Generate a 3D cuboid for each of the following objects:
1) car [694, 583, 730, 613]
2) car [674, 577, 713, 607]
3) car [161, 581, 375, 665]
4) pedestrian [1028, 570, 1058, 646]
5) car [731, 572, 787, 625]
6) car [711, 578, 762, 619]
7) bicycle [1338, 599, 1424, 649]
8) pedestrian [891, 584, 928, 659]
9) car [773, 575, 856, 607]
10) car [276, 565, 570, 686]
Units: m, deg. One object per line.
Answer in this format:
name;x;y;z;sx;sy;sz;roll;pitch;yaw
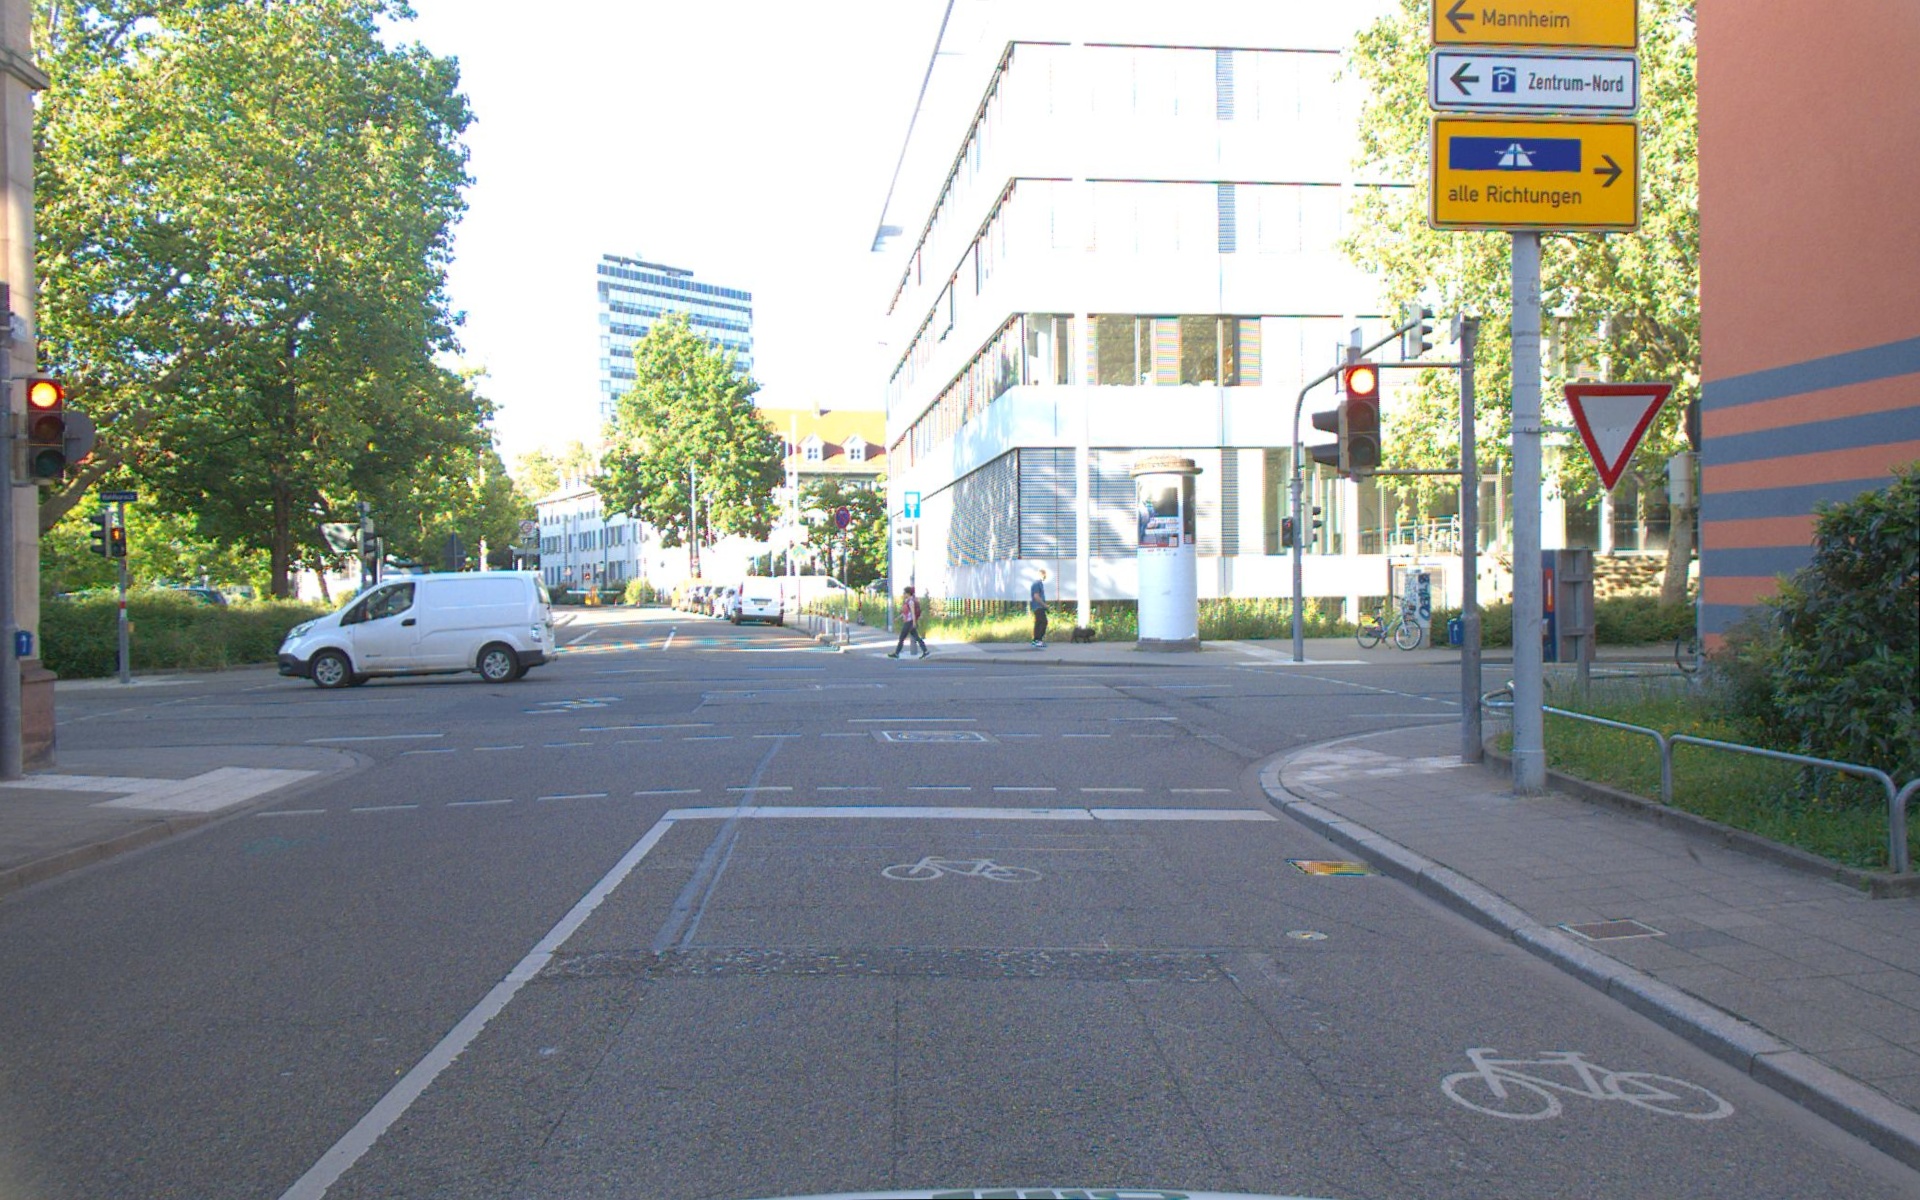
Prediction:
car;-12.862;-0.107;85.635;1.674;1.490;4.226;-1;1;-11
car;-15.394;-0.484;95.418;2.063;1.687;4.463;-1;1;-11
car;-15.769;0.500;37.897;4.146;1.808;1.901;-1;0;-9
pedestrian;1.962;0.187;39.060;0.638;1.766;0.813;-1;0;5
car;-7.871;-0.077;64.516;2.029;1.997;4.229;-1;0;-9
car;-10.342;-0.084;76.300;1.913;1.826;4.224;-1;1;-13
bicycle;9.218;0.517;36.245;0.460;1.067;1.886;-1;0;-42
pedestrian;-1.118;0.470;36.633;0.696;1.627;0.618;-1;0;8
car;-9.036;-0.547;102.718;4.804;1.905;1.990;1;-1;-17
car;-9.011;0.407;28.049;4.454;1.831;1.634;-2;0;-8
